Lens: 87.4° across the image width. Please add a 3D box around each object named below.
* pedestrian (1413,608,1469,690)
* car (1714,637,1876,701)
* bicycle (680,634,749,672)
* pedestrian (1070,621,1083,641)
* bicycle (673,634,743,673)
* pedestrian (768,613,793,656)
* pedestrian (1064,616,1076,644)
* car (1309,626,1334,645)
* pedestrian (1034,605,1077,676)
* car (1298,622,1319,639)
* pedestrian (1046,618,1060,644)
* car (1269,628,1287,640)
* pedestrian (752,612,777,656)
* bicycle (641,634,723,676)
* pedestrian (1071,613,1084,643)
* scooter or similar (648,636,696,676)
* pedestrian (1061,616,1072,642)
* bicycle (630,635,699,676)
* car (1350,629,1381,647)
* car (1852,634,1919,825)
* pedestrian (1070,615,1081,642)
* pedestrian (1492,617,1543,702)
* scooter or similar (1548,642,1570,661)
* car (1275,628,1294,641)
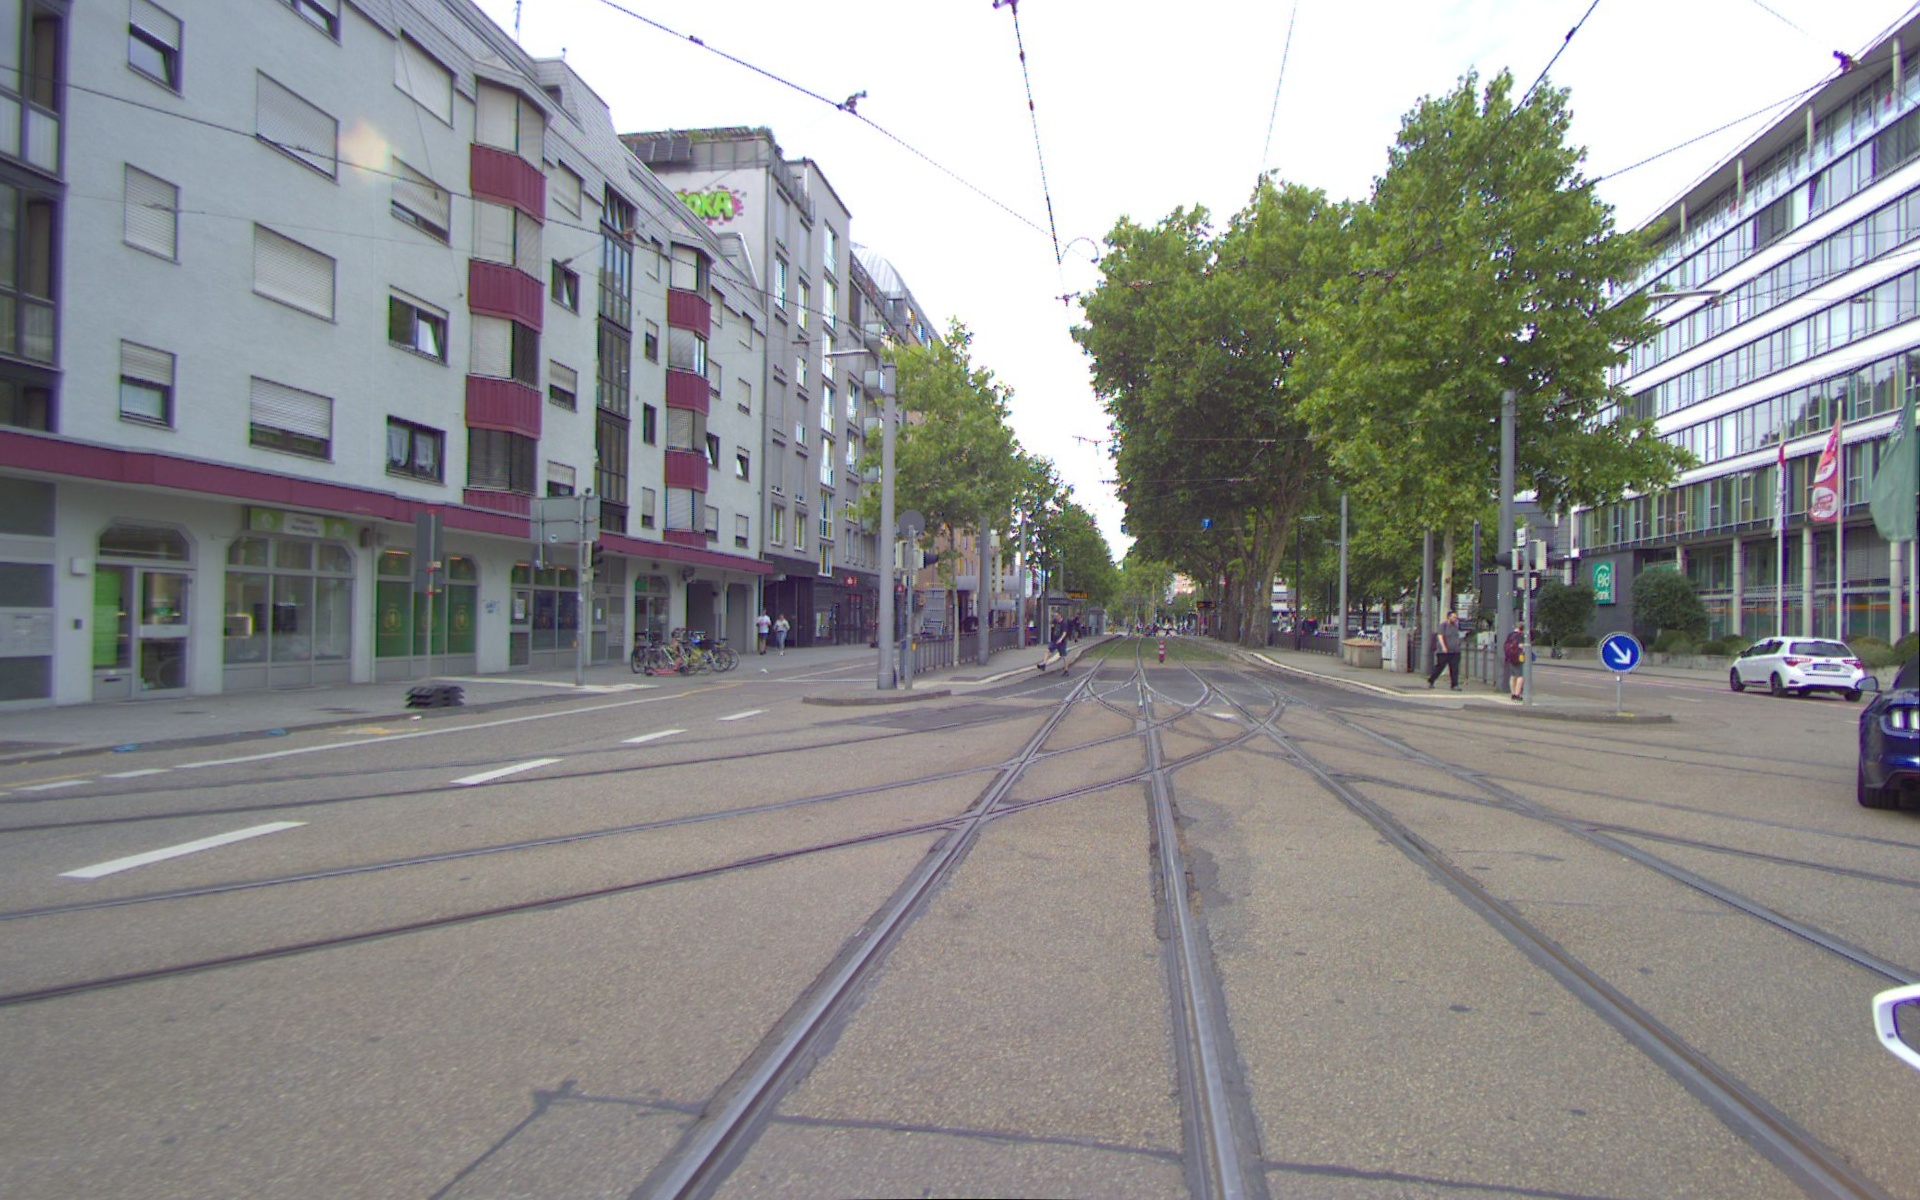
[{"bbox_3d":[11.247,1.142,23.494,0.827,1.880,0.842,1,-1,-16],"label":"pedestrian"},{"bbox_3d":[21.292,1.696,25.834,1.804,1.458,4.188,0,-2,18],"label":"car"},{"bbox_3d":[-7.424,1.601,30.440,1.847,1.031,0.710,3,-1,3],"label":"bicycle"},{"bbox_3d":[9.546,2.577,82.332,0.977,1.622,0.852,0,-1,8],"label":"pedestrian"},{"bbox_3d":[-7.451,1.579,29.730,1.847,1.031,0.628,3,-1,3],"label":"bicycle"},{"bbox_3d":[-7.441,1.425,41.676,0.744,1.757,0.898,0,-1,7],"label":"pedestrian"},{"bbox_3d":[7.773,2.115,71.139,0.801,1.912,0.786,0,-1,7],"label":"pedestrian"},{"bbox_3d":[37.063,3.657,103.091,1.858,1.928,4.132,0,-2,12],"label":"car"},{"bbox_3d":[2.642,1.125,27.853,0.985,1.924,0.804,1,-1,-11],"label":"pedestrian"},{"bbox_3d":[40.098,3.494,115.566,1.804,1.928,4.178,0,-2,12],"label":"car"},{"bbox_3d":[5.634,1.873,61.018,0.801,1.557,0.786,0,-1,7],"label":"pedestrian"},{"bbox_3d":[41.691,4.489,131.658,1.804,1.541,4.178,0,-2,12],"label":"car"},{"bbox_3d":[-8.101,1.400,41.698,0.744,1.799,0.898,0,-1,8],"label":"pedestrian"},{"bbox_3d":[-7.842,1.553,28.366,2.137,1.031,0.628,3,-1,11],"label":"bicycle"},{"bbox_3d":[7.503,1.814,64.347,0.801,1.912,0.786,0,-1,7],"label":"pedestrian"},{"bbox_3d":[-7.760,1.511,27.070,1.155,1.001,0.350,4,-2,-13],"label":"scooter or similar"},{"bbox_3d":[7.820,2.126,73.851,0.801,1.912,0.786,0,-1,7],"label":"pedestrian"},{"bbox_3d":[-8.156,1.531,27.746,1.697,1.031,0.479,3,-1,3],"label":"bicycle"},{"bbox_3d":[37.520,3.515,93.013,1.848,1.603,4.328,1,-1,10],"label":"car"},{"bbox_3d":[9.196,1.040,8.809,1.857,1.422,4.255,0,-1,44],"label":"car"},{"bbox_3d":[8.908,2.210,77.221,0.801,2.019,0.786,0,-1,8],"label":"pedestrian"},{"bbox_3d":[11.514,1.211,20.776,0.750,1.693,0.938,0,-1,17],"label":"pedestrian"},{"bbox_3d":[32.304,2.783,54.192,0.577,0.963,1.860,0,-2,16],"label":"scooter or similar"},{"bbox_3d":[40.493,4.302,125.340,1.804,1.541,4.178,0,-2,12],"label":"car"}]
